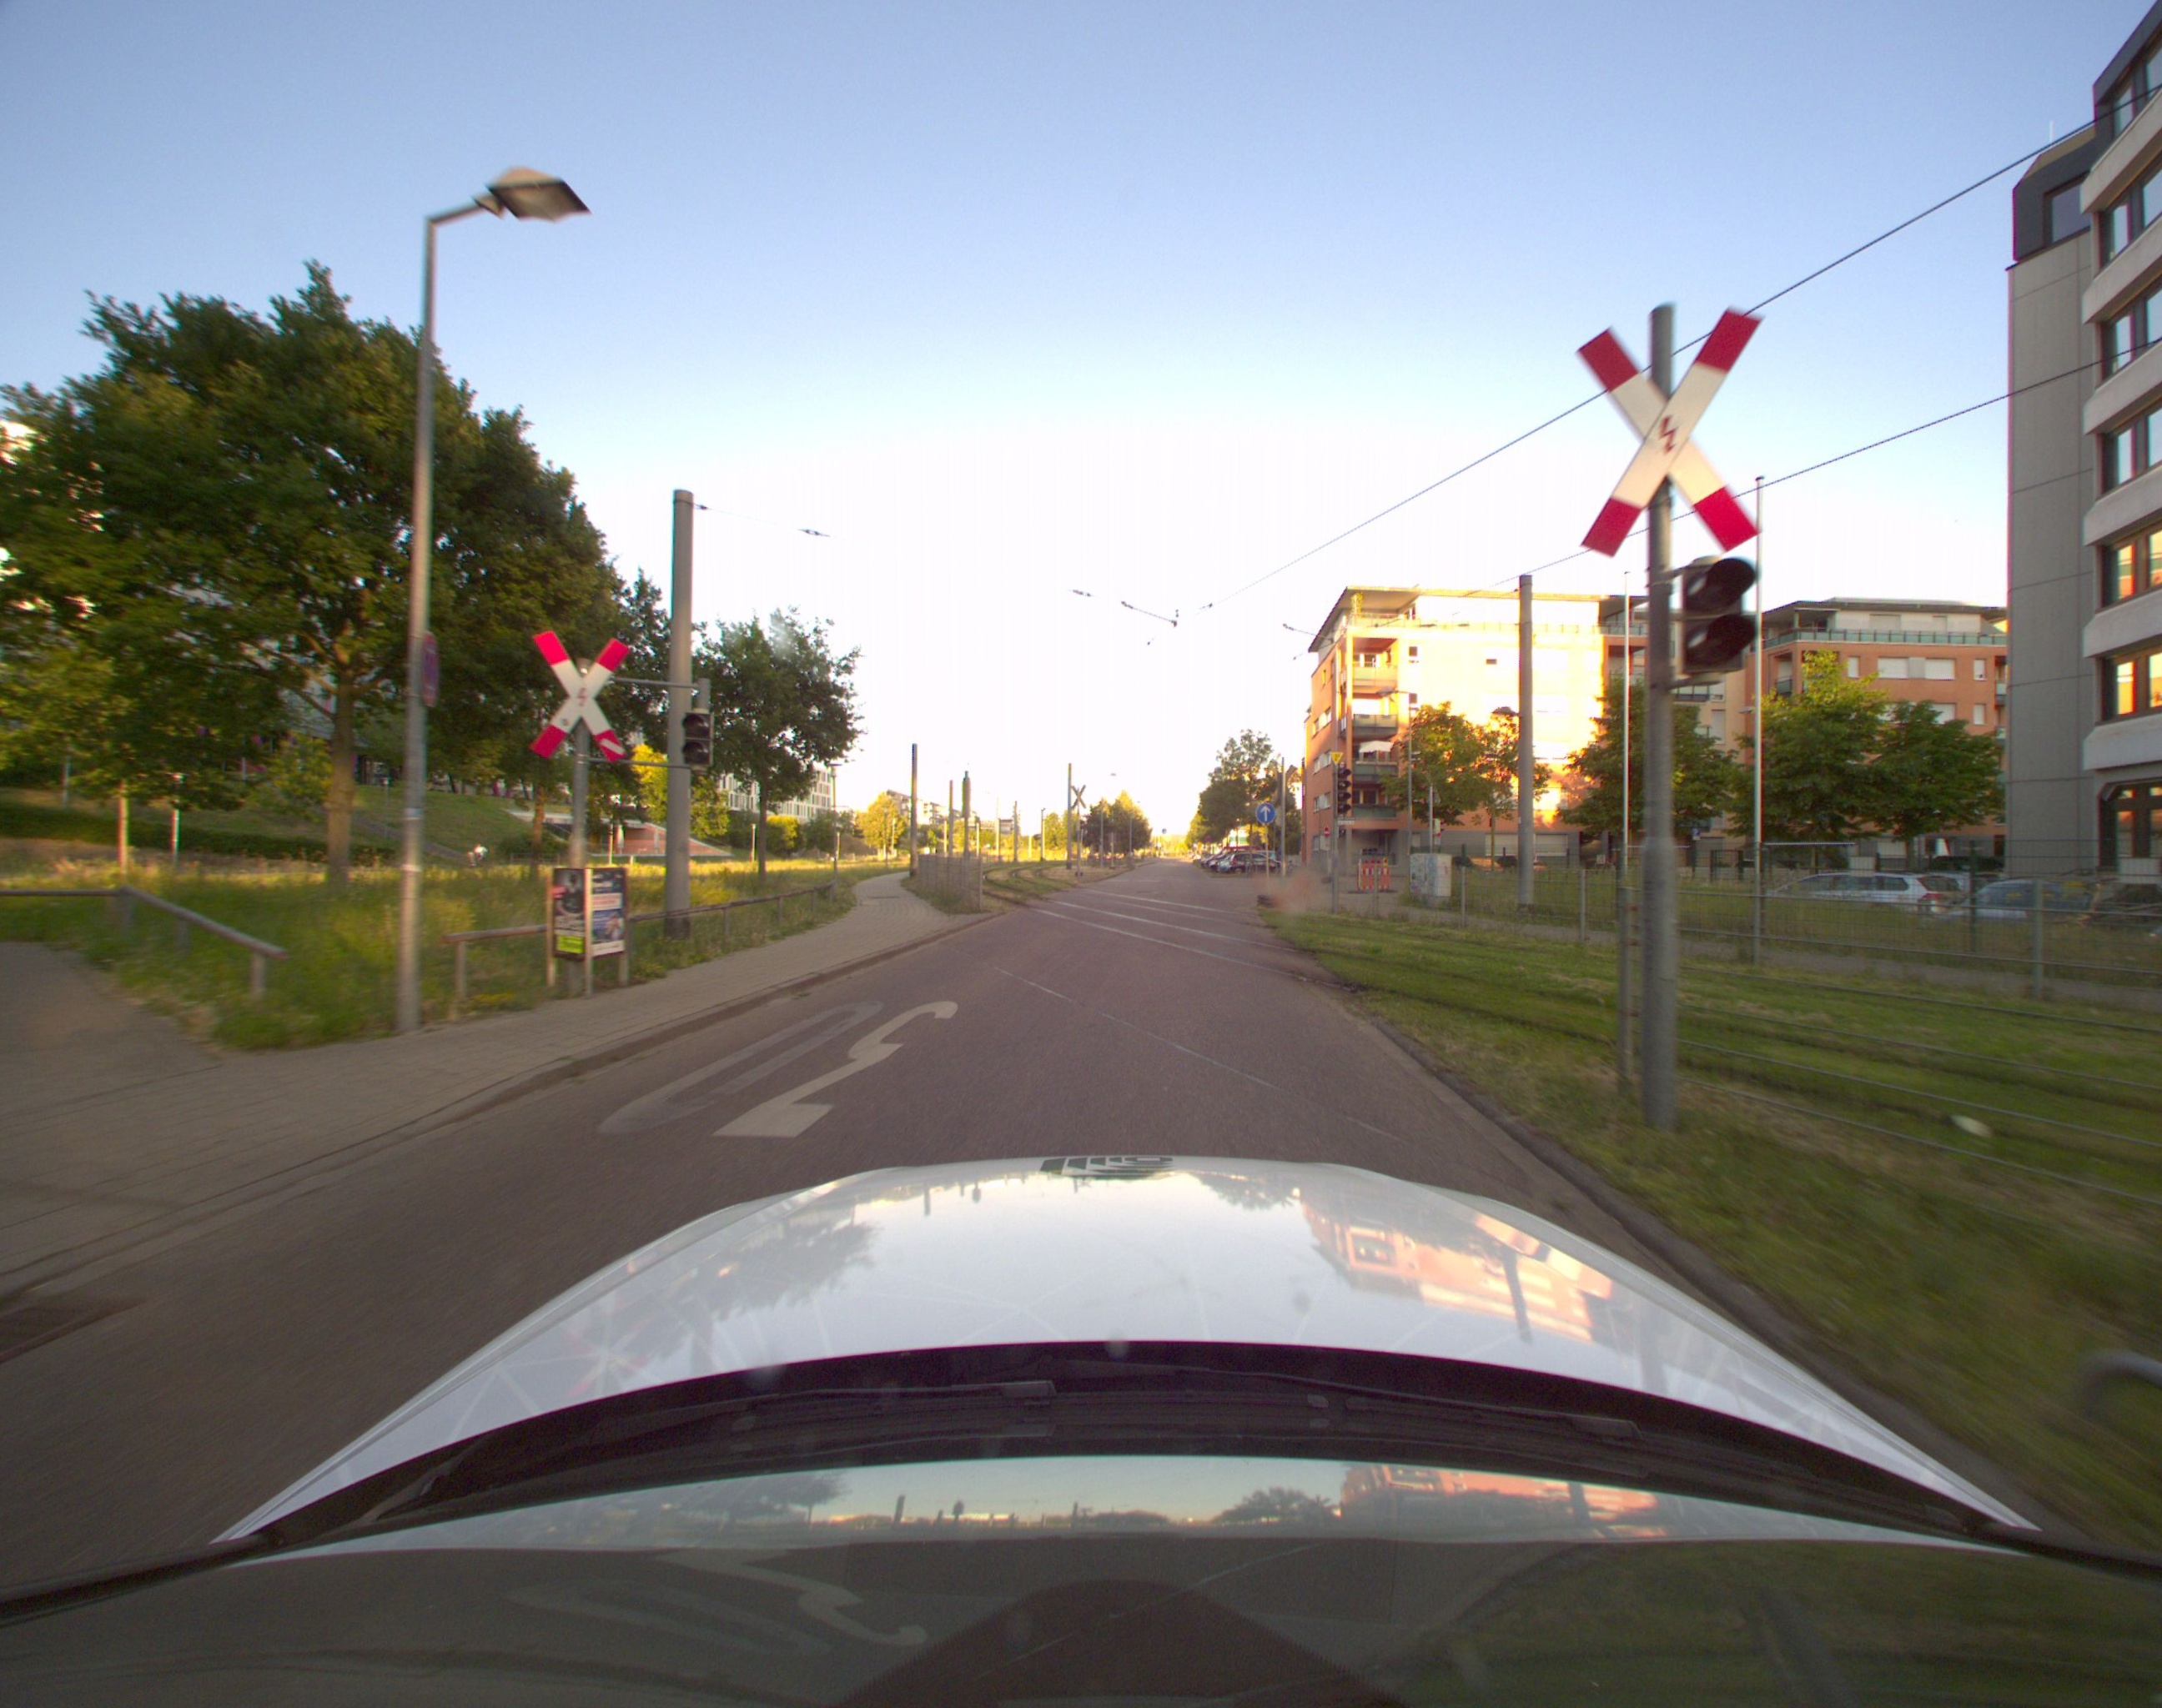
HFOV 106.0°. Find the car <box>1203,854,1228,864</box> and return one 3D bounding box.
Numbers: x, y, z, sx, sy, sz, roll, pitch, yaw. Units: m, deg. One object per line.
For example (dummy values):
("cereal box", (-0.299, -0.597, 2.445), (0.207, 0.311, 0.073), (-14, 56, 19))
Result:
("car", (20.942, 0.783, 126.983), (3.784, 1.508, 1.681), (0, 0, 4))

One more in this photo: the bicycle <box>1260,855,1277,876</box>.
("bicycle", (11.218, 0.662, 48.694), (0.675, 1.152, 1.931), (-2, 1, 5))

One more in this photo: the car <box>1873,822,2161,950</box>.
("car", (16.466, 0.503, 14.278), (3.995, 2.013, 1.989), (0, 0, -16))

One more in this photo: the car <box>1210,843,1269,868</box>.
("car", (13.743, 0.124, 70.852), (4.892, 2.117, 2.021), (0, 0, 8))

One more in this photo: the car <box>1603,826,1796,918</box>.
("car", (14.941, 0.378, 19.988), (1.983, 2.013, 4.007), (0, 0, 6))

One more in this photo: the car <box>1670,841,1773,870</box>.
("car", (36.869, 0.079, 47.076), (1.990, 1.594, 4.807), (0, 0, -5))

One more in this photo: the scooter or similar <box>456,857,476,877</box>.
("scooter or similar", (-38.549, 0.794, 51.065), (0.613, 1.244, 0.792), (2, 0, 6))

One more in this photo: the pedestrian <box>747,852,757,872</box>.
("pedestrian", (-35.314, 0.862, 87.362), (0.613, 2.082, 0.792), (2, 0, 6))

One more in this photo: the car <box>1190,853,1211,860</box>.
("car", (25.518, 0.501, 174.531), (4.459, 1.596, 2.004), (0, 0, 8))

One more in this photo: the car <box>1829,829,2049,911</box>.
("car", (22.925, 0.384, 22.025), (1.983, 2.013, 4.007), (0, 0, 6))

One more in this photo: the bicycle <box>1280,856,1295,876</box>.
("bicycle", (12.478, 0.717, 49.199), (0.526, 1.126, 1.966), (2, 2, 5))

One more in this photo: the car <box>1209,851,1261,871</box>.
("car", (11.531, 0.535, 61.194), (3.754, 1.496, 1.541), (0, -2, 6))

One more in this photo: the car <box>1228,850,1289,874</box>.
("car", (11.574, 0.513, 53.255), (3.735, 1.473, 1.614), (0, 0, 2))

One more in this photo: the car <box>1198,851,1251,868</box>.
("car", (13.032, 0.515, 74.092), (4.646, 1.556, 1.814), (0, 0, 5))

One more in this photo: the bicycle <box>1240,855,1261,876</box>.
("bicycle", (10.185, 0.664, 48.958), (0.715, 1.152, 1.896), (-2, 2, -4))

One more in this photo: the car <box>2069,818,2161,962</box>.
("car", (17.036, 0.511, 11.838), (3.995, 2.013, 1.989), (0, 0, -16))

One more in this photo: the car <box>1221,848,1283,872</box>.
("car", (11.665, 0.399, 55.738), (4.029, 1.569, 1.676), (-1, 0, 6))

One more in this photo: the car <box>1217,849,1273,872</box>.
("car", (11.764, 0.464, 58.545), (3.856, 1.569, 1.623), (0, 0, 6))

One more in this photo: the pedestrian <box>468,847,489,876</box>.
("pedestrian", (-38.506, 0.498, 52.043), (0.613, 1.836, 0.792), (2, 0, 6))

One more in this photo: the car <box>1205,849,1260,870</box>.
("car", (12.186, 0.462, 65.695), (4.193, 1.569, 1.796), (-2, 0, 6))

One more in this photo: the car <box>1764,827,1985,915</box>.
("car", (19.891, 0.385, 20.711), (1.983, 2.013, 4.007), (0, 0, 6))

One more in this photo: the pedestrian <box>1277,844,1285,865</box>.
("pedestrian", (17.288, 0.051, 70.407), (0.665, 1.743, 0.700), (0, 0, 6))
